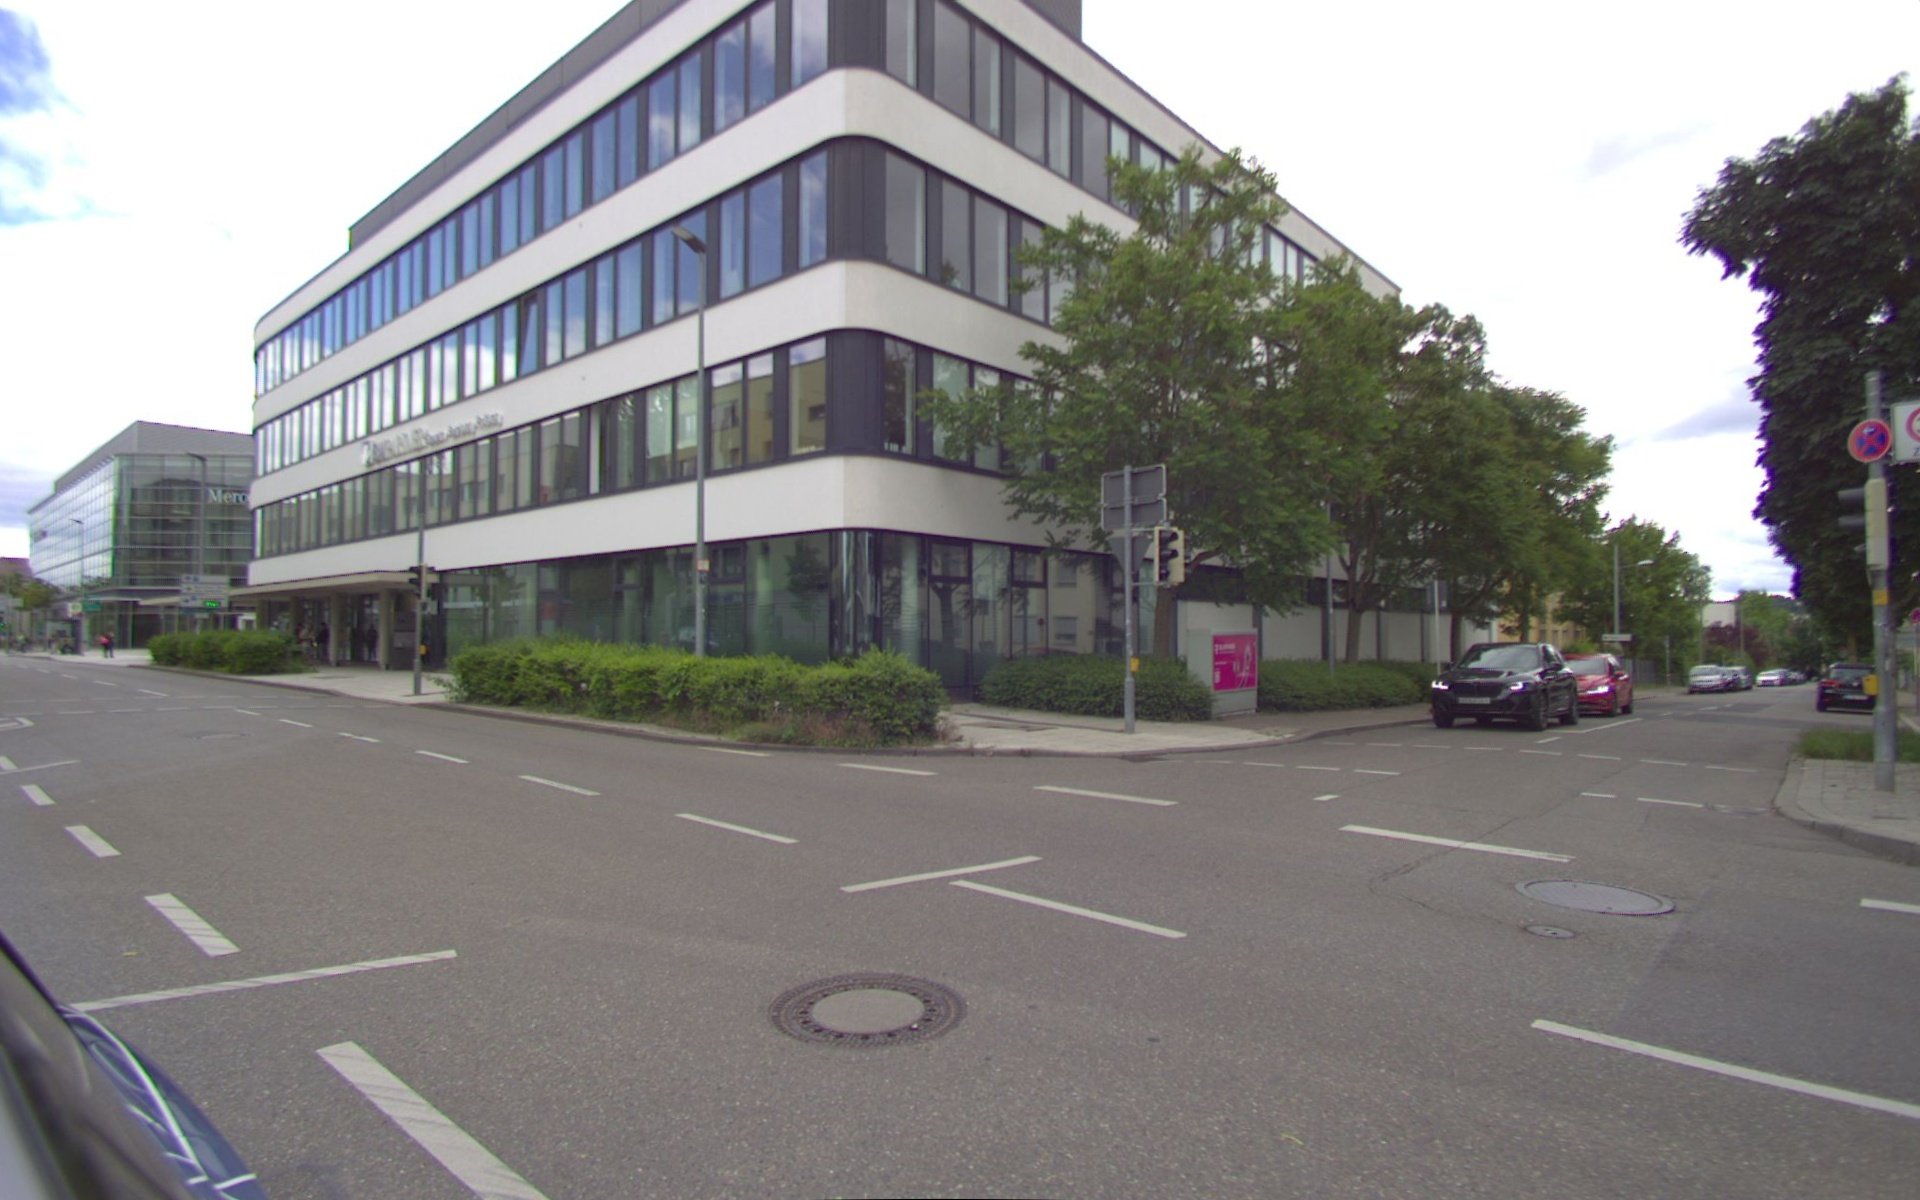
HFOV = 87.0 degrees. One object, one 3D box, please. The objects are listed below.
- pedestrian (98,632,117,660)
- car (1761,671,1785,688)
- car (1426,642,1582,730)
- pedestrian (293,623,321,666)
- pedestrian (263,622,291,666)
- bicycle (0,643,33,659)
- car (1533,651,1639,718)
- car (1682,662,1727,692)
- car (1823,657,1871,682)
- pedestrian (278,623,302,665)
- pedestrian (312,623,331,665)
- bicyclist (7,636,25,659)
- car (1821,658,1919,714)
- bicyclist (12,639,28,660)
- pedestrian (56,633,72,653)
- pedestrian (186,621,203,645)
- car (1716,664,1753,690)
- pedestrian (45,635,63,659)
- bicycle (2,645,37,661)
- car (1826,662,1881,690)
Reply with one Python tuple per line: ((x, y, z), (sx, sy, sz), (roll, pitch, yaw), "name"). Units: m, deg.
((-49.053, 2.645, 58.225), (0.820, 1.579, 0.814), (0, -1, -43), "pedestrian")
((78.553, 7.712, 97.817), (1.684, 1.539, 3.946), (-2, -4, 40), "car")
((10.716, 1.662, 19.812), (1.910, 1.544, 3.947), (-4, -6, 39), "car")
((-25.363, 1.714, 39.299), (0.931, 1.625, 0.722), (-2, -1, 44), "pedestrian")
((-26.403, 1.688, 39.109), (0.931, 1.686, 0.722), (-2, -1, 44), "pedestrian")
((-77.898, 4.247, 83.531), (2.000, 1.215, 0.748), (-2, 0, -4), "bicycle")
((15.788, 2.066, 25.434), (1.684, 1.539, 3.946), (-2, -4, 40), "car")
((40.308, 4.133, 54.756), (1.684, 1.539, 3.946), (-2, -4, 40), "car")
((56.809, 4.465, 64.840), (1.909, 1.544, 3.951), (-2, -5, 36), "car")
((-27.754, 1.825, 41.933), (0.501, 1.723, 0.613), (0, -2, 11), "pedestrian")
((-26.569, 1.820, 42.107), (0.497, 1.743, 0.617), (1, -2, -17), "pedestrian")
((-77.908, 3.933, 83.535), (0.762, 1.813, 0.748), (-2, 0, -4), "bicyclist")
((27.738, 2.599, 30.883), (1.909, 1.544, 3.951), (-2, -5, 36), "car")
((-75.720, 4.003, 81.535), (0.771, 1.661, 0.640), (-2, 0, -33), "bicyclist")
((-60.546, 2.886, 68.376), (0.576, 1.330, 0.677), (-2, -4, 40), "pedestrian")
((-64.015, 2.769, 84.642), (0.740, 1.960, 0.901), (-1, -1, 3), "pedestrian")
((49.815, 4.923, 65.041), (1.684, 1.539, 3.946), (-2, -4, 40), "car")
((-62.155, 3.222, 69.419), (0.568, 1.644, 0.686), (0, -3, 1), "pedestrian")
((-75.739, 4.284, 81.514), (1.973, 1.139, 0.640), (-2, 0, -33), "bicycle")
((50.504, 4.303, 57.292), (1.909, 1.544, 3.951), (-2, -5, 36), "car")
